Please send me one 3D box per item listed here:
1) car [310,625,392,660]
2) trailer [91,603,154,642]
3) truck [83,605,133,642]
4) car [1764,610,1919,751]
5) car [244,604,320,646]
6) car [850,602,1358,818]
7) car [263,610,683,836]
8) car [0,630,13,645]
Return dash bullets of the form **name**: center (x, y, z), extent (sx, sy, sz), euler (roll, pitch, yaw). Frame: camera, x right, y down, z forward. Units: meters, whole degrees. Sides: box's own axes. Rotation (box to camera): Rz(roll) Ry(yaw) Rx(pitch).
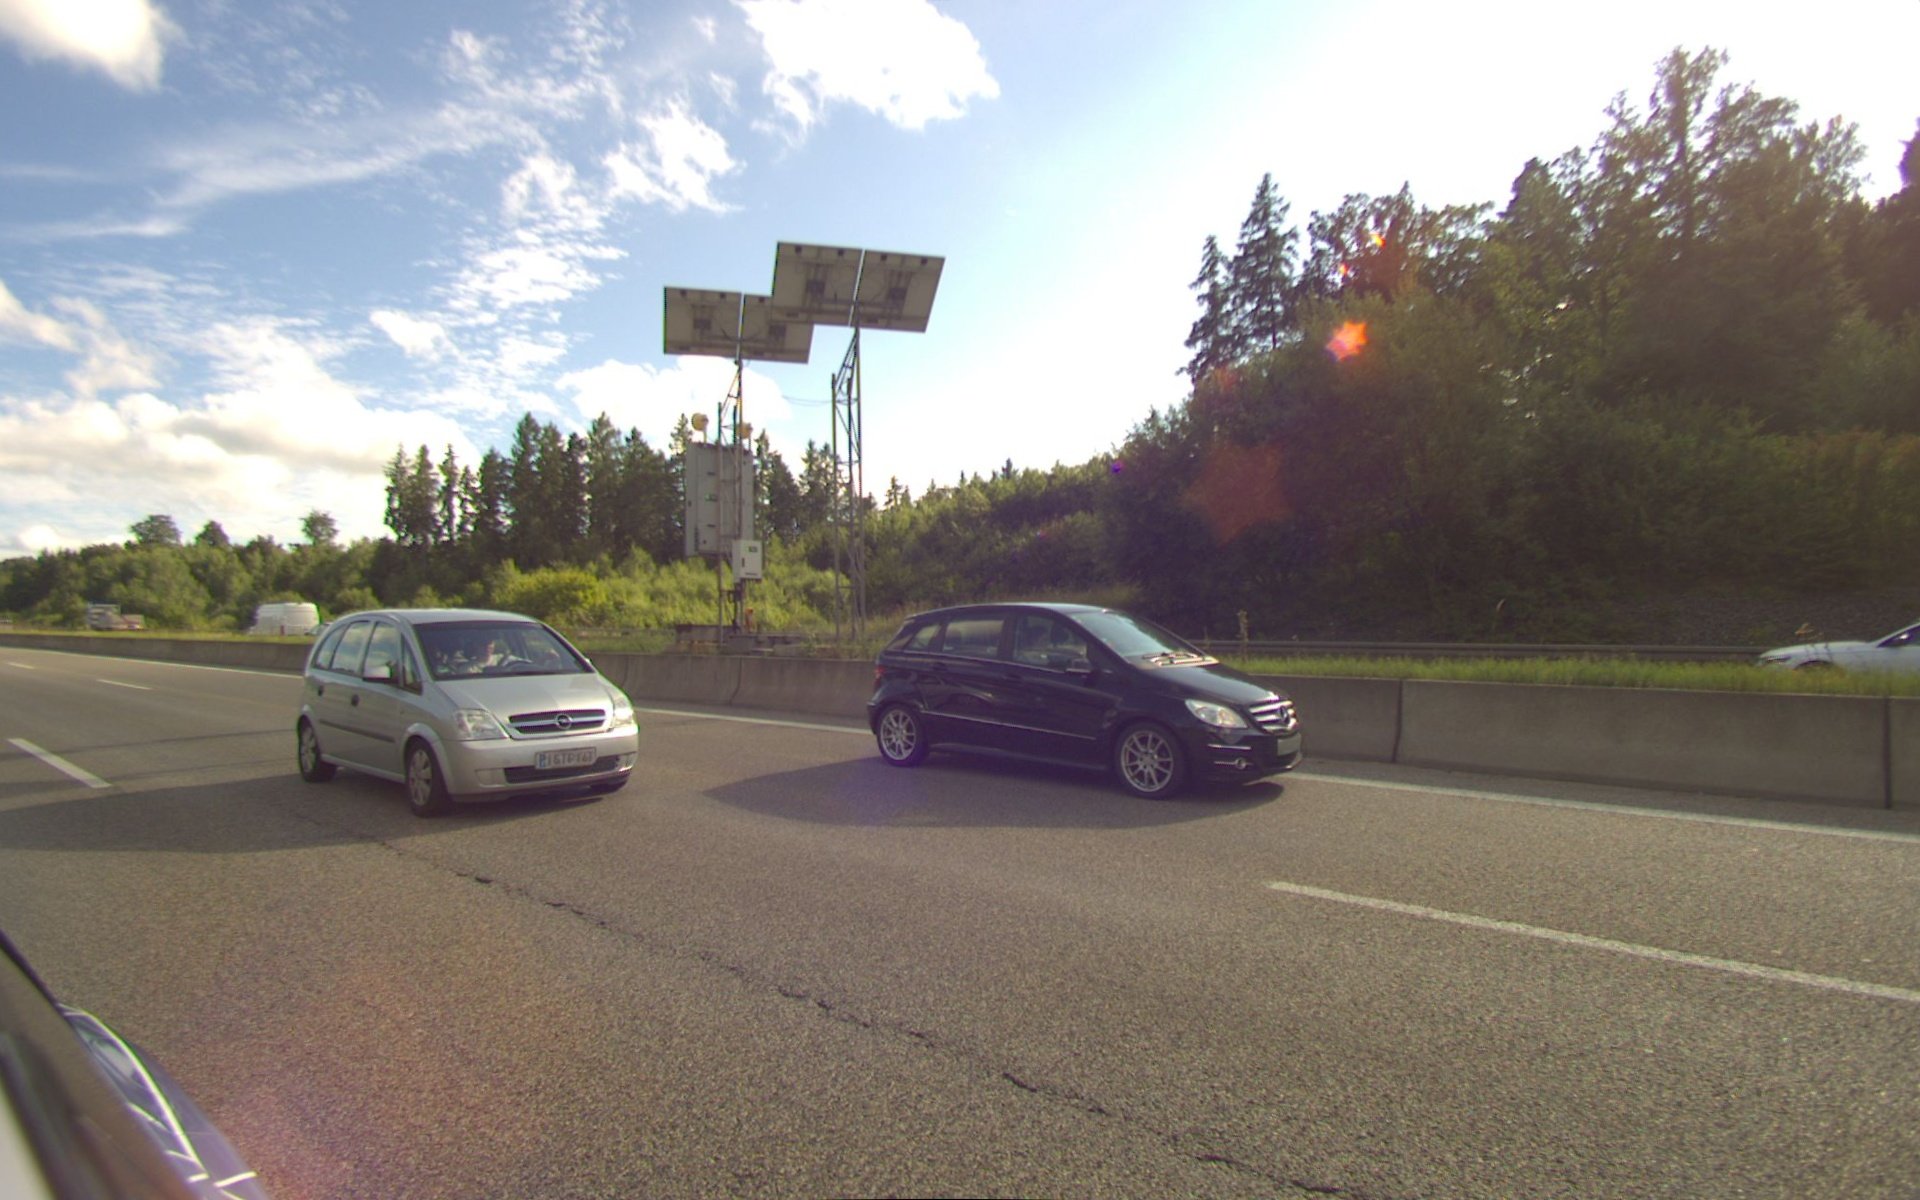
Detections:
- **car**: center (-26.686, 1.836, 44.289), extent (3.998, 1.464, 1.972), euler (-2, -2, 41)
- **trailer**: center (-87.441, 2.398, 105.581), extent (12.202, 3.867, 3.091), euler (-2, -2, 41)
- **truck**: center (-93.025, 2.538, 110.457), extent (7.119, 3.867, 3.082), euler (-2, -2, 41)
- **car**: center (16.304, 1.210, 15.623), extent (5.963, 2.155, 2.552), euler (-2, -2, 41)
- **car**: center (-40.112, 1.478, 59.802), extent (6.720, 2.330, 2.087), euler (-2, -1, 41)
- **car**: center (1.128, 0.829, 9.283), extent (4.331, 1.529, 1.816), euler (-2, -2, 41)
- **car**: center (-4.473, 0.885, 8.977), extent (4.331, 1.529, 1.816), euler (-2, -2, 41)
- **car**: center (-128.163, 4.993, 135.189), extent (4.857, 2.029, 1.972), euler (-2, -2, 42)
